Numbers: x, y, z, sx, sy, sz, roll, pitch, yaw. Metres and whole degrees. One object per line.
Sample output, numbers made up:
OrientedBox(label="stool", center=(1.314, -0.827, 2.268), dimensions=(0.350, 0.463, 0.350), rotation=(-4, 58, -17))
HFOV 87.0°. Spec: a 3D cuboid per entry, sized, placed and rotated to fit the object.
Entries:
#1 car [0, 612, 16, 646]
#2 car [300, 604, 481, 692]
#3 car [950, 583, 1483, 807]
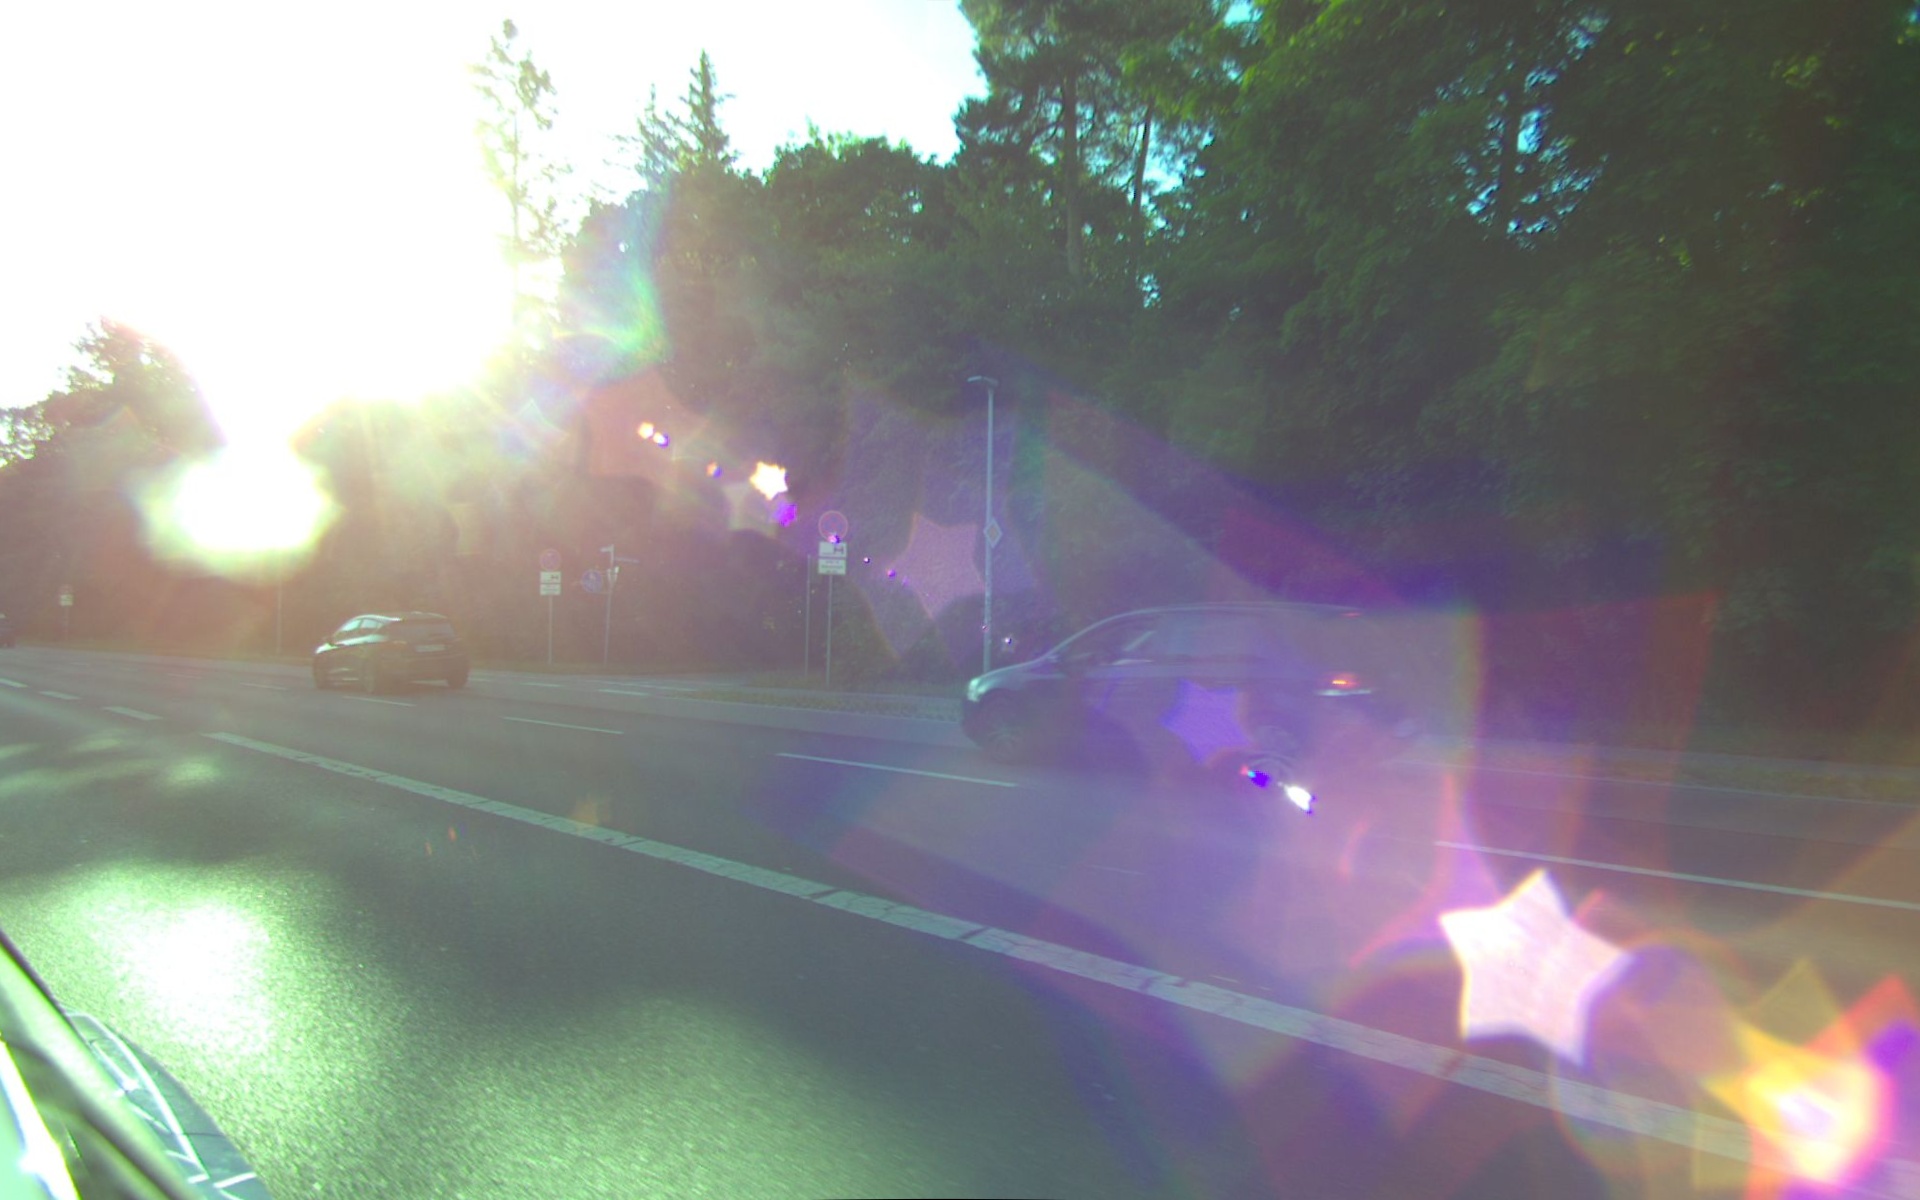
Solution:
OrientedBox(label="car", center=(-48.280, 1.417, 49.903), dimensions=(4.443, 1.623, 1.878), rotation=(-1, -1, 38))
OrientedBox(label="car", center=(-11.064, 0.860, 19.566), dimensions=(3.995, 1.468, 1.721), rotation=(-1, 1, 39))
OrientedBox(label="car", center=(2.015, 0.659, 8.742), dimensions=(4.171, 1.492, 1.640), rotation=(-1, -1, 41))
